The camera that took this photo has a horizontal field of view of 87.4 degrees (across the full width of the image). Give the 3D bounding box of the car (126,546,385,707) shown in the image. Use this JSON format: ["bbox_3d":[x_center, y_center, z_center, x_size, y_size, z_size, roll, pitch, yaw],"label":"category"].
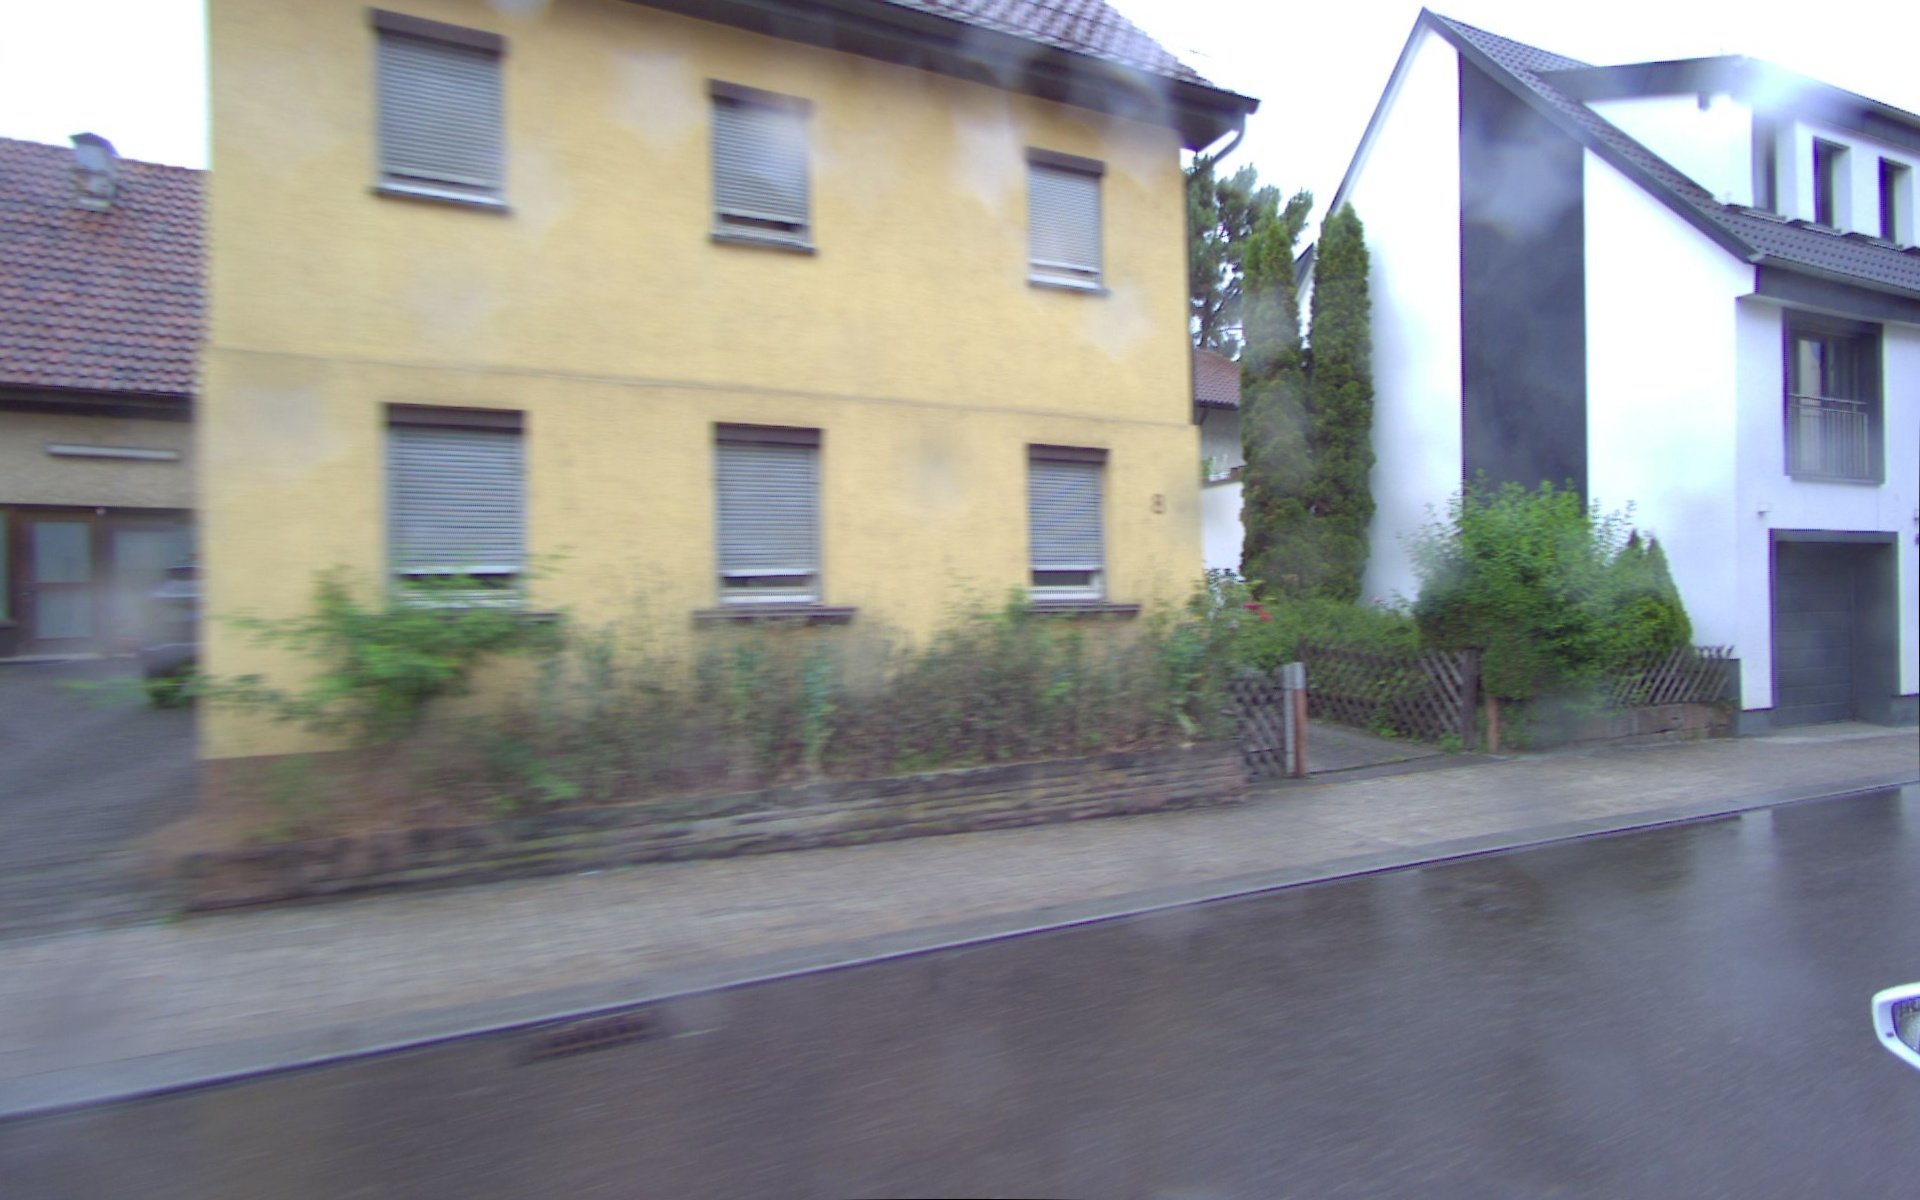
[{"bbox_3d":[-8.891,0.173,13.082,1.763,1.656,3.979,-2,5,-21],"label":"car"}]
